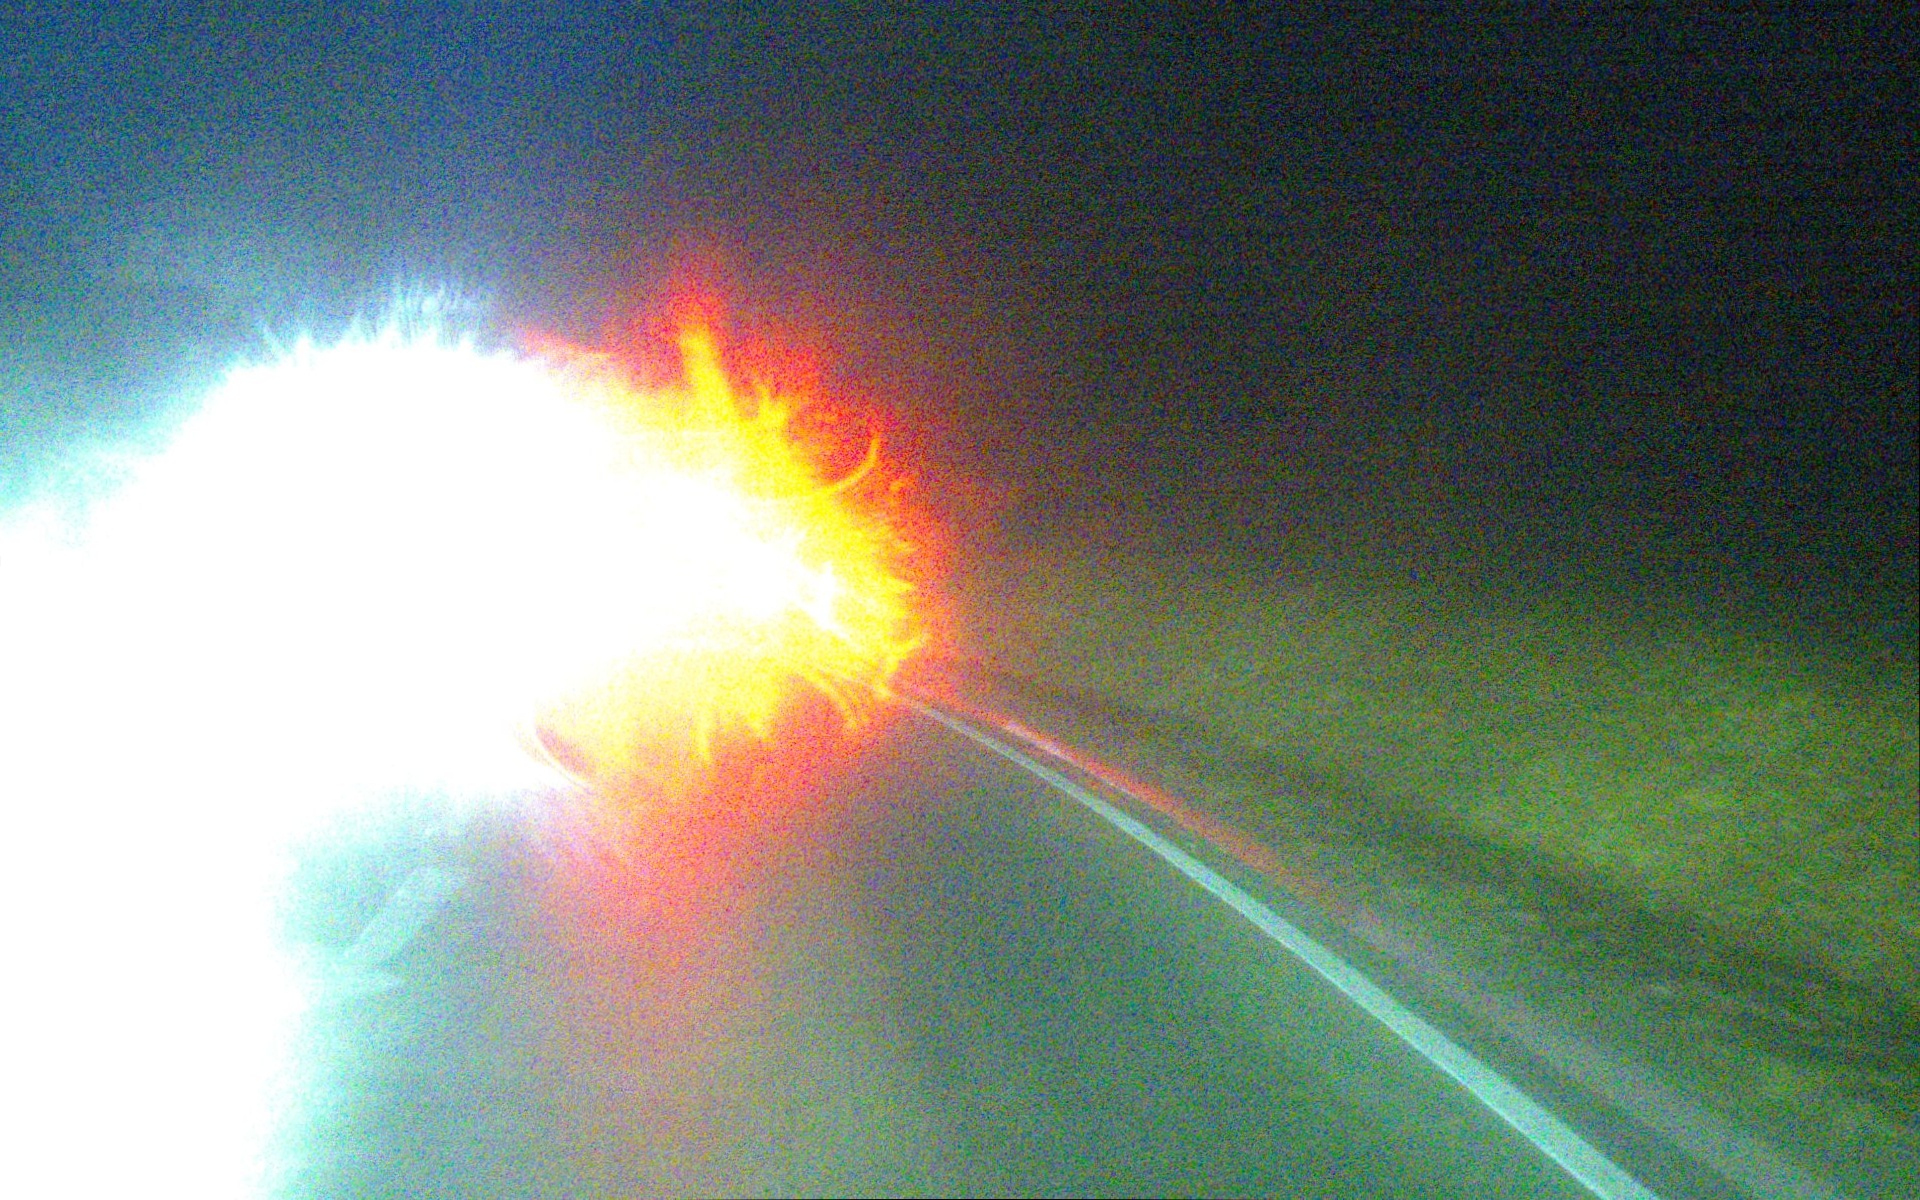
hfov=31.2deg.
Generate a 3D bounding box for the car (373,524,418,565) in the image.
[{"bbox_3d":[-24.817,-2.450,150.998,1.753,1.728,3.451,3,1,-12],"label":"car"}]

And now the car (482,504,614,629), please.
[{"bbox_3d":[-7.540,-0.570,62.634,1.993,2.007,4.001,3,-3,-11],"label":"car"}]

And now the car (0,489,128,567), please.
[{"bbox_3d":[-21.110,-1.600,76.681,4.910,1.729,2.001,0,1,-13],"label":"car"}]

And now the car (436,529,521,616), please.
[{"bbox_3d":[-10.865,-0.600,77.366,1.740,1.708,3.700,3,-2,-9],"label":"car"}]

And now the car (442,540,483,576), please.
[{"bbox_3d":[-25.381,-2.163,175.233,1.753,1.728,3.782,3,1,-12],"label":"car"}]

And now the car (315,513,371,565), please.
[{"bbox_3d":[-21.618,-2.145,120.370,1.753,1.728,4.001,3,1,-12],"label":"car"}]

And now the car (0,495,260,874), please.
[{"bbox_3d":[-4.308,0.347,15.717,1.635,1.504,4.096,-1,0,-4],"label":"car"}]

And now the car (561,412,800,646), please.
[{"bbox_3d":[-3.282,-0.798,39.605,2.538,2.489,5.715,0,1,-6],"label":"car"}]
